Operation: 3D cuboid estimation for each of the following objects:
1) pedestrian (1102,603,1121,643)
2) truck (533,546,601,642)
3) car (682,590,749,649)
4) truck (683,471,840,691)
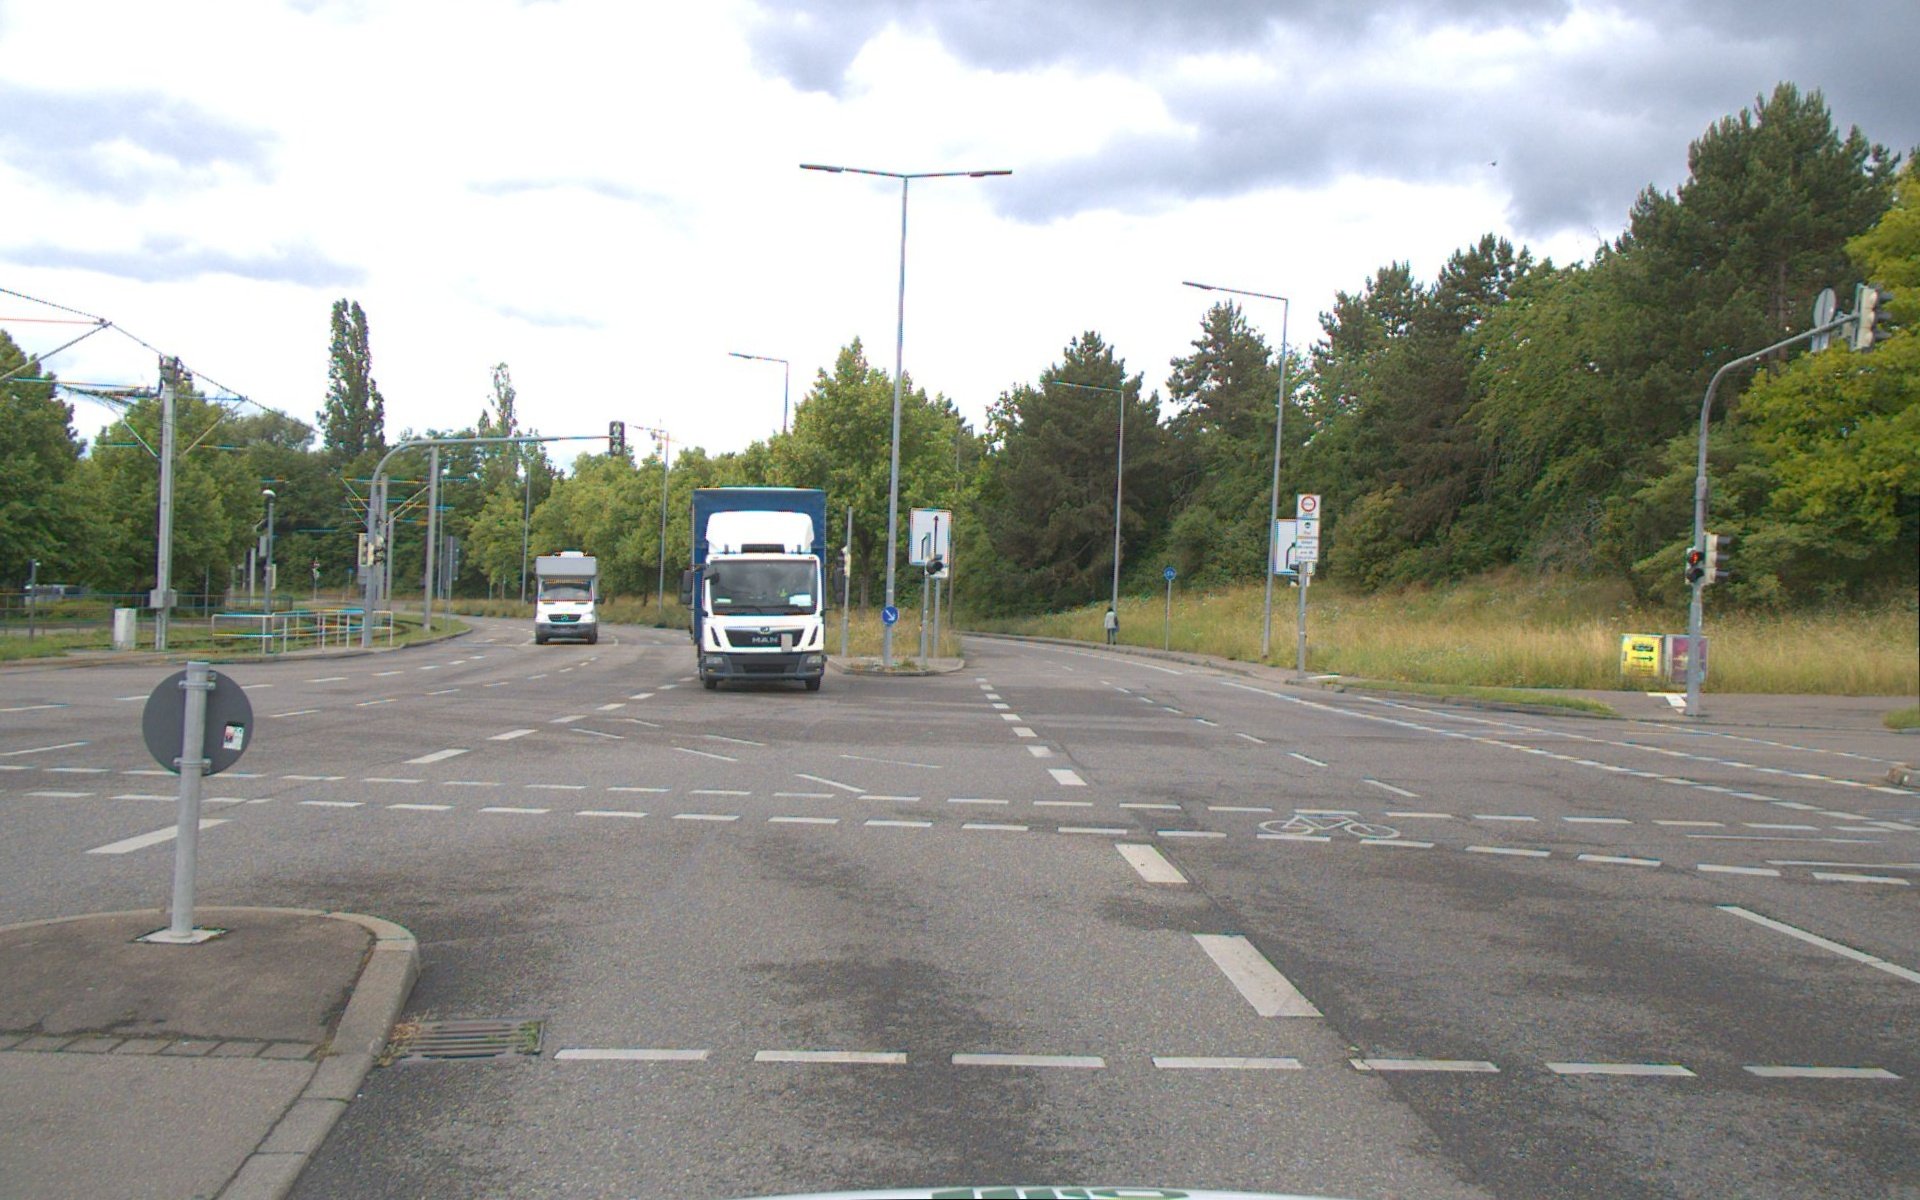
[{"bbox_3d":[6.603,1.006,72.177,0.724,1.747,0.625,1,0,-1],"label":"pedestrian"},{"bbox_3d":[-13.527,-0.206,57.212,2.068,3.063,6.254,-2,0,-12],"label":"truck"},{"bbox_3d":[-8.899,0.678,59.861,1.960,2.049,4.592,1,0,-14],"label":"car"},{"bbox_3d":[-4.178,-0.327,33.781,2.727,3.871,8.372,1,0,-9],"label":"truck"}]
